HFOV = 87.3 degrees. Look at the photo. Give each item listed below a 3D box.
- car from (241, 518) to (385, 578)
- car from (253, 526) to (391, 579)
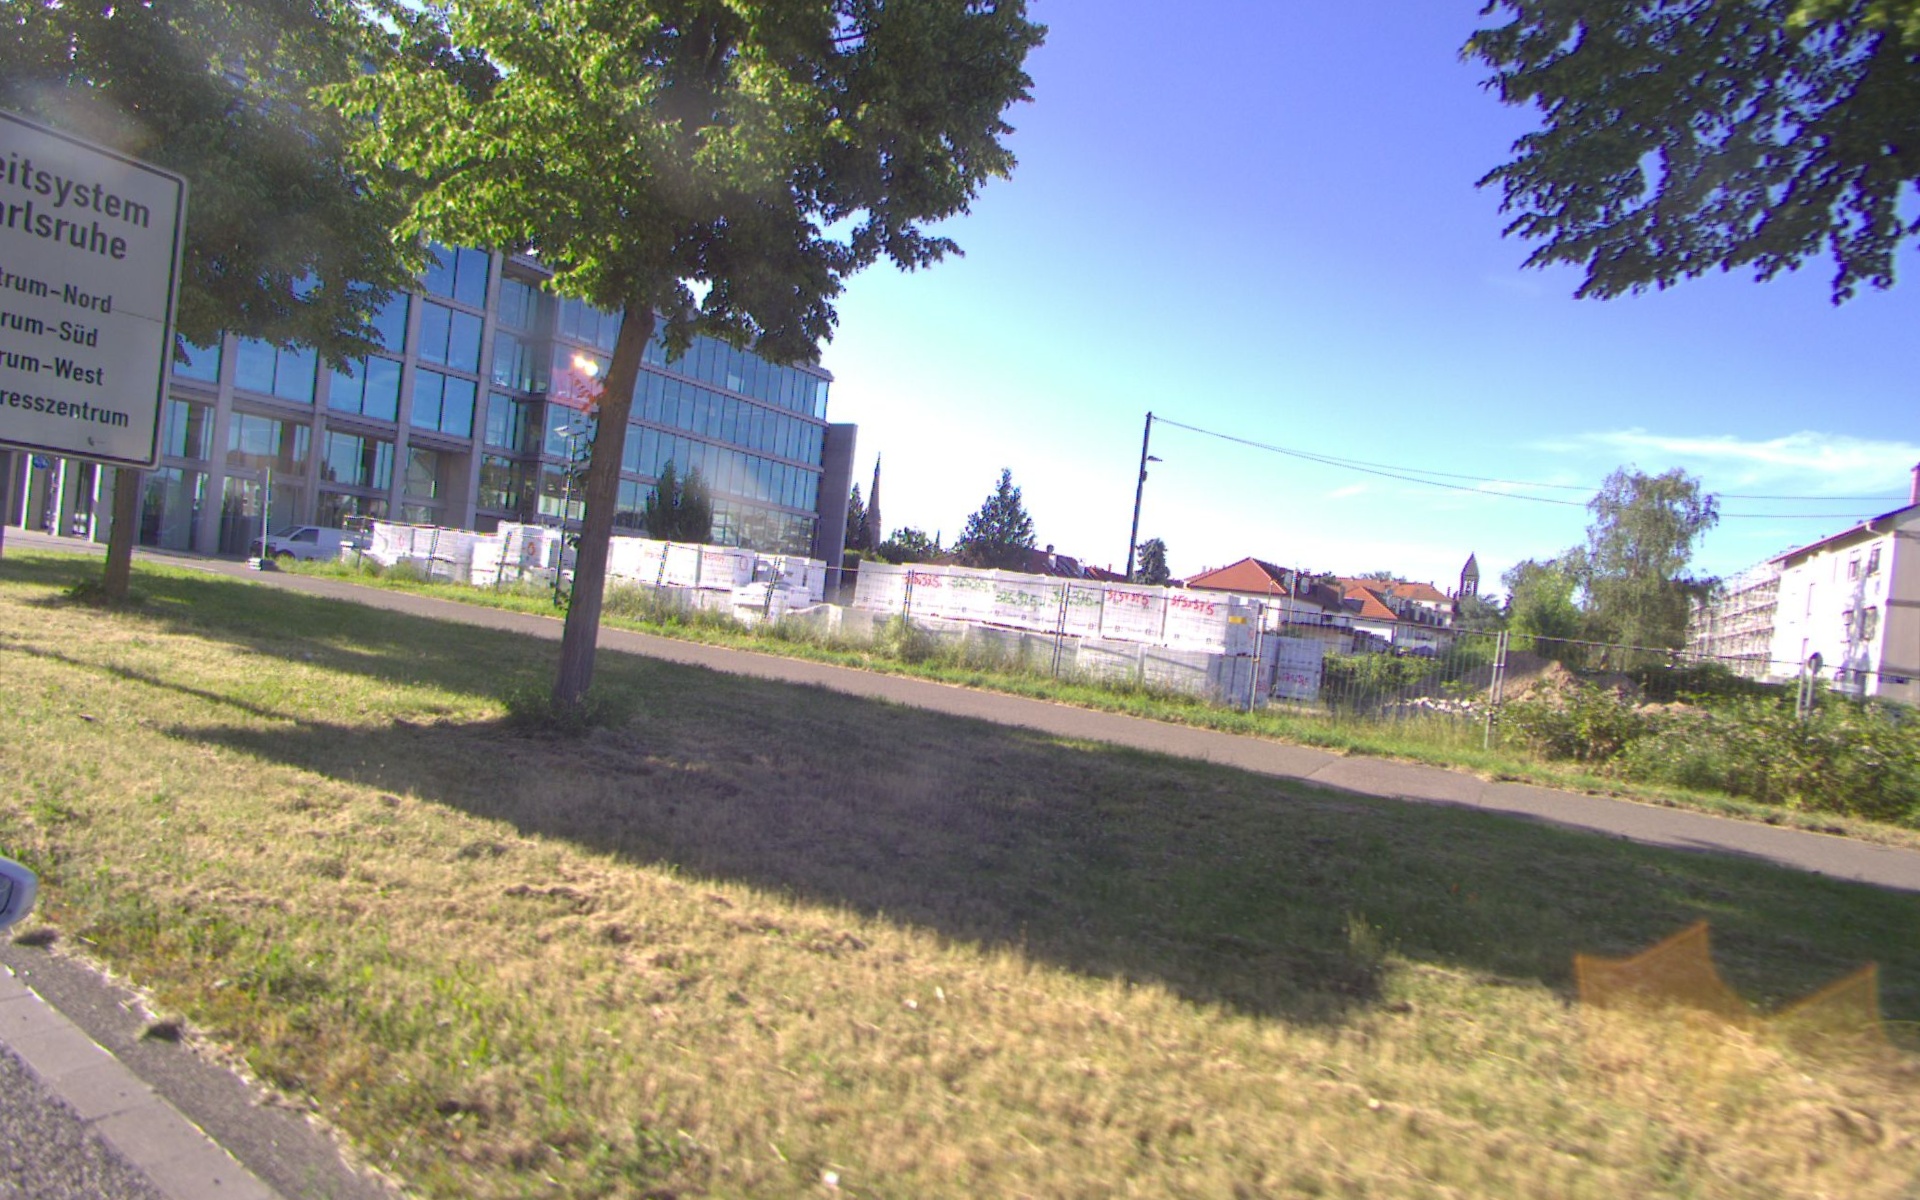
[{"bbox_3d":[-29.274,-2.297,45.695,1.907,2.006,5.071,7,-1,33],"label":"car"},{"bbox_3d":[-26.765,-1.973,42.313,1.750,1.409,4.506,9,0,43],"label":"car"}]
